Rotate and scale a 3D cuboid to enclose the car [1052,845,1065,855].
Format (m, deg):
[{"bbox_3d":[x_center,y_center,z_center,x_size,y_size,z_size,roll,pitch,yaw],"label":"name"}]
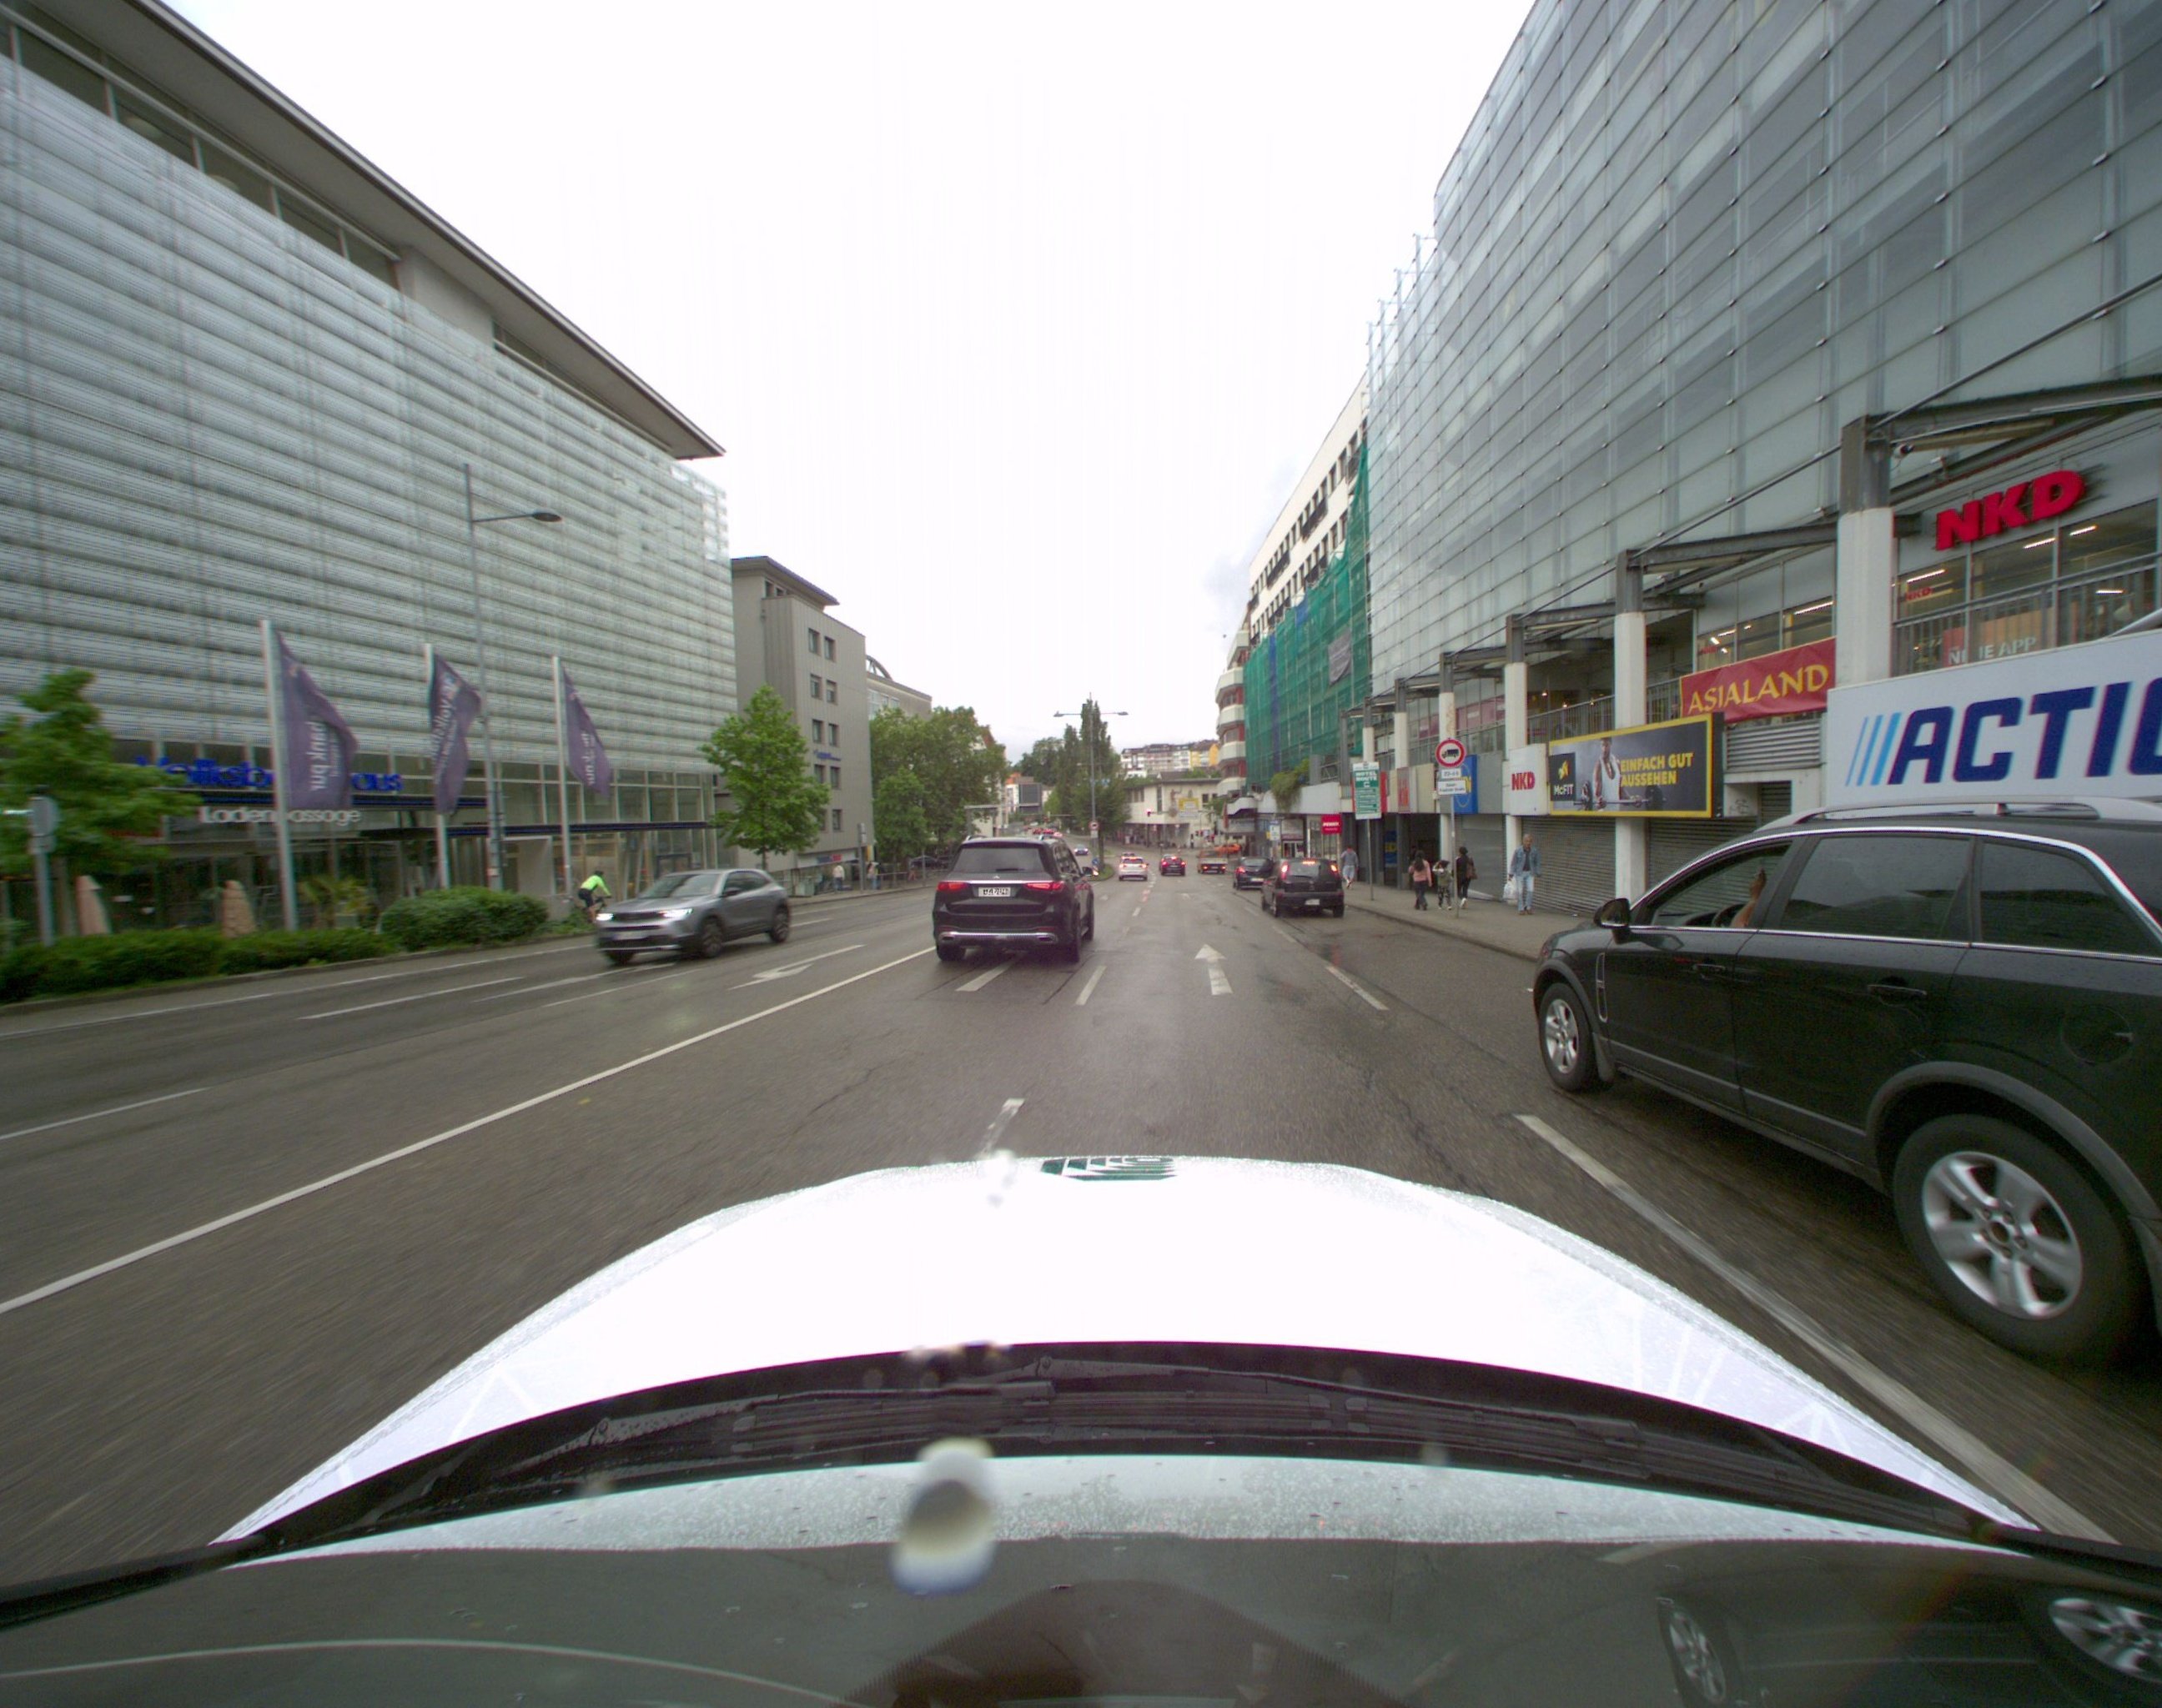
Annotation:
[{"bbox_3d":[-3.318,-0.580,120.128,1.774,1.549,3.994,-1,0,-4],"label":"car"}]

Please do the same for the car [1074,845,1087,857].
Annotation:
[{"bbox_3d":[-0.099,-0.425,113.227,1.814,1.549,3.999,-1,0,0],"label":"car"}]

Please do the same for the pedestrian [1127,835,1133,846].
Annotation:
[{"bbox_3d":[8.589,-2.390,141.754,0.798,1.803,0.914,-2,0,-10],"label":"pedestrian"}]

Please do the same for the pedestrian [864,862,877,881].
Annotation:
[{"bbox_3d":[-20.349,1.686,78.611,0.751,1.722,0.956,-2,0,17],"label":"pedestrian"}]

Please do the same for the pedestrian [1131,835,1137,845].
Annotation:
[{"bbox_3d":[9.172,-2.432,140.562,0.846,1.803,1.052,-2,0,-10],"label":"pedestrian"}]

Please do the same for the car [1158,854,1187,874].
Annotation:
[{"bbox_3d":[6.945,0.724,62.437,1.806,1.441,4.000,0,1,0],"label":"car"}]

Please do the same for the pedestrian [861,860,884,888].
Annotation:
[{"bbox_3d":[-13.325,1.249,52.041,0.967,1.722,1.093,-2,0,11],"label":"pedestrian"}]

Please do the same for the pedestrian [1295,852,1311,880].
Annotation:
[{"bbox_3d":[13.258,0.734,48.688,0.565,1.650,0.635,-2,-2,-44],"label":"pedestrian"}]

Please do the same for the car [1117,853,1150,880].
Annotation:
[{"bbox_3d":[3.280,0.730,50.636,1.941,1.574,4.005,-1,0,4],"label":"car"}]

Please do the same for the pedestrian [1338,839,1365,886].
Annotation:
[{"bbox_3d":[10.221,0.306,30.764,0.830,1.722,0.832,-2,0,13],"label":"pedestrian"}]

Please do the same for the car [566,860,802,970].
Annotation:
[{"bbox_3d":[-6.876,0.967,14.692,1.832,1.552,4.101,-4,0,6],"label":"car"}]

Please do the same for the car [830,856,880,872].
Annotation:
[{"bbox_3d":[-24.997,1.077,90.238,5.068,1.759,1.994,0,0,-8],"label":"car"}]

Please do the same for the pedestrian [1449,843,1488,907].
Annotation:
[{"bbox_3d":[9.126,0.481,19.221,0.765,1.467,0.708,-2,0,24],"label":"pedestrian"}]

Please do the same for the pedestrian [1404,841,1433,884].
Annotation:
[{"bbox_3d":[13.868,0.334,33.463,0.673,1.715,0.809,-2,0,-35],"label":"pedestrian"}]

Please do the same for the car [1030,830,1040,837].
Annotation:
[{"bbox_3d":[-12.247,-5.367,214.808,1.754,1.554,3.547,-1,0,-19],"label":"car"}]

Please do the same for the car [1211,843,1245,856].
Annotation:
[{"bbox_3d":[18.674,-0.591,103.560,3.818,1.616,1.768,-1,0,-12],"label":"car"}]

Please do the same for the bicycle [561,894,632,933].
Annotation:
[{"bbox_3d":[-15.692,1.916,26.433,0.673,1.099,2.079,-2,-1,14],"label":"bicycle"}]

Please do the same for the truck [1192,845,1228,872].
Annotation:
[{"bbox_3d":[10.561,0.310,67.021,2.176,2.082,5.605,-1,0,1],"label":"truck"}]

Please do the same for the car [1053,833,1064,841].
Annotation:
[{"bbox_3d":[-5.141,-3.867,182.899,1.993,1.596,3.988,-1,0,-8],"label":"car"}]

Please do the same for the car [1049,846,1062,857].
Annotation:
[{"bbox_3d":[-3.530,-0.311,112.469,1.702,1.451,3.857,-1,0,-3],"label":"car"}]

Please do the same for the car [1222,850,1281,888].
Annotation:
[{"bbox_3d":[7.560,0.646,36.467,1.942,1.574,4.003,-1,0,3],"label":"car"}]

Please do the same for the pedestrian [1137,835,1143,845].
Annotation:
[{"bbox_3d":[10.268,-2.449,141.131,0.702,1.803,0.935,-2,0,-10],"label":"pedestrian"}]

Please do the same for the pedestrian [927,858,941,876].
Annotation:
[{"bbox_3d":[-14.489,1.258,80.250,0.940,1.722,0.764,-2,0,27],"label":"pedestrian"}]

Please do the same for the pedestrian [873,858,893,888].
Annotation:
[{"bbox_3d":[-11.746,1.108,48.293,0.813,1.713,1.312,-2,0,-2],"label":"pedestrian"}]

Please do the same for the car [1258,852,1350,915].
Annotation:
[{"bbox_3d":[5.498,0.682,20.487,1.707,1.420,3.778,-1,0,8],"label":"car"}]

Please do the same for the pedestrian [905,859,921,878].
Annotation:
[{"bbox_3d":[-16.126,1.404,78.166,0.939,1.722,1.022,-3,2,38],"label":"pedestrian"}]

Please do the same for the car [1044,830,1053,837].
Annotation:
[{"bbox_3d":[-8.557,-5.396,213.279,1.832,1.588,3.860,-1,0,-10],"label":"car"}]

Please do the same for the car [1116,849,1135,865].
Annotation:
[{"bbox_3d":[4.518,0.293,82.424,1.787,1.468,4.001,-1,0,1],"label":"car"}]

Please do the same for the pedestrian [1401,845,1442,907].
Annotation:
[{"bbox_3d":[8.222,0.531,19.711,0.741,1.437,0.599,-4,0,13],"label":"pedestrian"}]

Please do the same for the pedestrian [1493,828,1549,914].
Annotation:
[{"bbox_3d":[9.139,0.349,16.940,0.830,1.722,0.620,-2,0,13],"label":"pedestrian"}]

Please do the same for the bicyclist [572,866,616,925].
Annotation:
[{"bbox_3d":[-15.733,1.338,26.329,0.663,1.830,0.994,-3,-1,14],"label":"bicyclist"}]

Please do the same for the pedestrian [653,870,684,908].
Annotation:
[{"bbox_3d":[-16.495,1.388,32.592,0.648,1.456,0.847,-2,0,11],"label":"pedestrian"}]

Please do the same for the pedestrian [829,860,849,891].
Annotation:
[{"bbox_3d":[-13.930,1.239,46.889,0.994,1.722,1.034,-2,0,-14],"label":"pedestrian"}]

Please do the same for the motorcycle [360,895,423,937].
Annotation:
[{"bbox_3d":[-22.532,2.022,26.623,1.537,1.295,0.771,-2,0,11],"label":"motorcycle"}]

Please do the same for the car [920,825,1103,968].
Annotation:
[{"bbox_3d":[-0.843,0.534,12.986,2.078,1.817,4.799,1,0,5],"label":"car"}]

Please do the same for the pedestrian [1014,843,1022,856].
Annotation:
[{"bbox_3d":[-9.149,-0.699,117.492,0.910,1.803,0.620,-2,0,-37],"label":"pedestrian"}]

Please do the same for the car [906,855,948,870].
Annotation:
[{"bbox_3d":[-17.658,0.998,93.601,4.683,1.643,1.780,0,0,-11],"label":"car"}]

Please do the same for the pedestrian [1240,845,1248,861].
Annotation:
[{"bbox_3d":[18.144,-0.129,90.705,0.576,1.699,0.648,-2,0,-10],"label":"pedestrian"}]

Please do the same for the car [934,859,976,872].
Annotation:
[{"bbox_3d":[-14.077,1.276,91.389,4.588,1.482,1.937,0,0,-8],"label":"car"}]

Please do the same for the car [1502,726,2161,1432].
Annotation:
[{"bbox_3d":[3.831,0.518,3.724,1.898,1.785,4.308,-2,1,5],"label":"car"}]

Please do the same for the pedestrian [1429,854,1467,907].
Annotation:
[{"bbox_3d":[8.715,0.616,19.339,0.685,1.207,0.556,-2,0,13],"label":"pedestrian"}]

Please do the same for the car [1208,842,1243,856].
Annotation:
[{"bbox_3d":[18.333,-0.641,103.503,3.990,1.616,1.772,-1,0,-5],"label":"car"}]

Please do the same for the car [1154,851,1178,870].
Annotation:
[{"bbox_3d":[7.545,0.592,72.680,1.754,1.542,4.002,-1,1,1],"label":"car"}]

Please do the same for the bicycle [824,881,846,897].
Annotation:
[{"bbox_3d":[-17.913,2.523,59.379,0.609,1.087,2.674,-1,0,4],"label":"bicycle"}]
